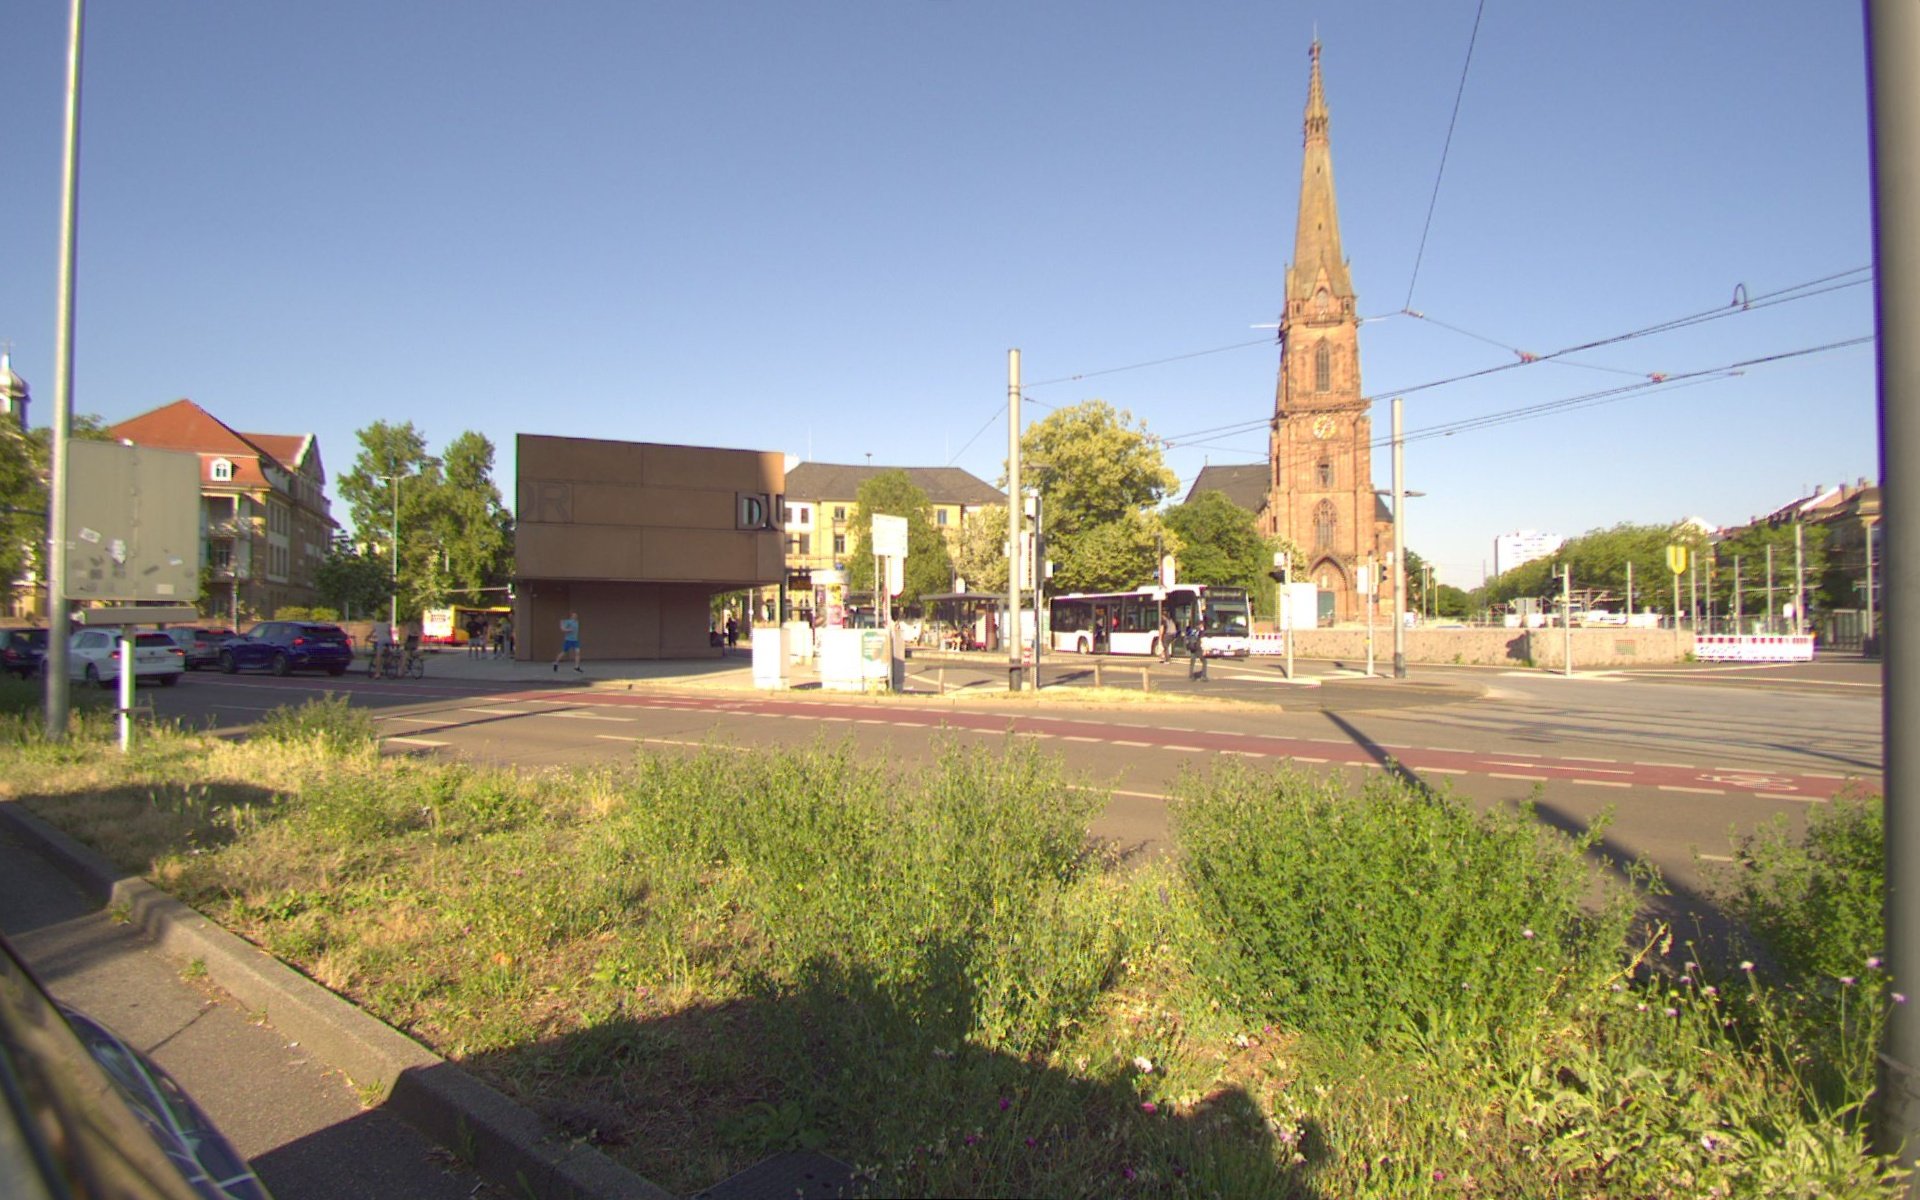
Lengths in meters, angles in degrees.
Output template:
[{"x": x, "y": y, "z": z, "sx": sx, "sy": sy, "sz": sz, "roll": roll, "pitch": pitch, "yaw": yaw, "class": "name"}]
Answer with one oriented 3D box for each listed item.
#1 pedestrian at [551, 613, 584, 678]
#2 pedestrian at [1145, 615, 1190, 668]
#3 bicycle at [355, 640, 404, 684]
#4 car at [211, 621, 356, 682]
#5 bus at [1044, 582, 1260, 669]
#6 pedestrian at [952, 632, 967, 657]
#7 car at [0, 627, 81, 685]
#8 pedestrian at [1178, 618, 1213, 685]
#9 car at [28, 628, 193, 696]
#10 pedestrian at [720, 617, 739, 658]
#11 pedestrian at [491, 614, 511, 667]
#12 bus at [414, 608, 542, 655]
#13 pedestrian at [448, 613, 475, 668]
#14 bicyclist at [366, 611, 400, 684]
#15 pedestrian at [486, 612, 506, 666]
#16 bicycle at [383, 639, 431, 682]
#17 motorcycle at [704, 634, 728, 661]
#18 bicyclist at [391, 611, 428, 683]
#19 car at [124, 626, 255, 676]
[{"x": -11.724, "y": 1.342, "z": 30.227, "sx": 0.787, "sy": 1.911, "sz": 0.612, "roll": 0, "pitch": -2, "yaw": -9, "class": "pedestrian"}, {"x": 6.892, "y": 1.360, "z": 33.647, "sx": 1.025, "sy": 1.696, "sz": 1.007, "roll": -1, "pitch": 0, "yaw": -25, "class": "pedestrian"}, {"x": -16.383, "y": 1.742, "z": 28.567, "sx": 1.388, "sy": 1.201, "sz": 0.461, "roll": -1, "pitch": 0, "yaw": 24, "class": "bicycle"}, {"x": -20.136, "y": 1.495, "z": 30.092, "sx": 4.166, "sy": 1.703, "sz": 1.741, "roll": -1, "pitch": -1, "yaw": 26, "class": "car"}, {"x": 7.675, "y": 0.966, "z": 43.299, "sx": 2.655, "sy": 3.174, "sz": 12.216, "roll": -1, "pitch": 0, "yaw": -23, "class": "bus"}, {"x": -0.007, "y": 2.192, "z": 50.027, "sx": 0.531, "sy": 1.196, "sz": 0.660, "roll": -1, "pitch": 0, "yaw": -21, "class": "pedestrian"}, {"x": -26.898, "y": 1.528, "z": 28.592, "sx": 4.169, "sy": 1.471, "sz": 1.740, "roll": -1, "pitch": 0, "yaw": 28, "class": "car"}, {"x": 6.428, "y": 1.399, "z": 27.600, "sx": 0.702, "sy": 1.771, "sz": 0.584, "roll": -1, "pitch": 0, "yaw": -30, "class": "pedestrian"}, {"x": -21.447, "y": 1.501, "z": 25.524, "sx": 4.375, "sy": 1.503, "sz": 1.831, "roll": -1, "pitch": 0, "yaw": 30, "class": "car"}, {"x": -11.683, "y": 1.886, "z": 51.322, "sx": 0.762, "sy": 2.029, "sz": 0.778, "roll": -1, "pitch": 0, "yaw": -2, "class": "pedestrian"}, {"x": -18.010, "y": 1.577, "z": 39.707, "sx": 0.645, "sy": 2.029, "sz": 0.470, "roll": -1, "pitch": 0, "yaw": -29, "class": "pedestrian"}, {"x": -37.900, "y": 2.361, "z": 80.371, "sx": 3.049, "sy": 3.236, "sz": 12.521, "roll": -1, "pitch": 0, "yaw": 6, "class": "bus"}, {"x": -18.865, "y": 1.505, "z": 38.291, "sx": 0.765, "sy": 2.029, "sz": 0.775, "roll": -1, "pitch": 0, "yaw": -37, "class": "pedestrian"}, {"x": -16.277, "y": 1.339, "z": 28.553, "sx": 0.562, "sy": 2.029, "sz": 0.605, "roll": -1, "pitch": -2, "yaw": 25, "class": "bicyclist"}, {"x": -17.772, "y": 1.480, "z": 38.787, "sx": 0.645, "sy": 2.029, "sz": 0.470, "roll": -1, "pitch": 0, "yaw": -29, "class": "pedestrian"}, {"x": -15.943, "y": 1.736, "z": 29.189, "sx": 1.388, "sy": 1.201, "sz": 0.461, "roll": -1, "pitch": 0, "yaw": 24, "class": "bicycle"}, {"x": -10.140, "y": 1.977, "z": 42.060, "sx": 0.935, "sy": 1.075, "sz": 0.331, "roll": -1, "pitch": 0, "yaw": -11, "class": "motorcycle"}, {"x": -15.838, "y": 1.340, "z": 29.131, "sx": 0.705, "sy": 2.029, "sz": 0.605, "roll": -1, "pitch": -2, "yaw": 25, "class": "bicyclist"}, {"x": -25.194, "y": 1.648, "z": 33.078, "sx": 4.375, "sy": 1.503, "sz": 1.831, "roll": -1, "pitch": -4, "yaw": 30, "class": "car"}]
